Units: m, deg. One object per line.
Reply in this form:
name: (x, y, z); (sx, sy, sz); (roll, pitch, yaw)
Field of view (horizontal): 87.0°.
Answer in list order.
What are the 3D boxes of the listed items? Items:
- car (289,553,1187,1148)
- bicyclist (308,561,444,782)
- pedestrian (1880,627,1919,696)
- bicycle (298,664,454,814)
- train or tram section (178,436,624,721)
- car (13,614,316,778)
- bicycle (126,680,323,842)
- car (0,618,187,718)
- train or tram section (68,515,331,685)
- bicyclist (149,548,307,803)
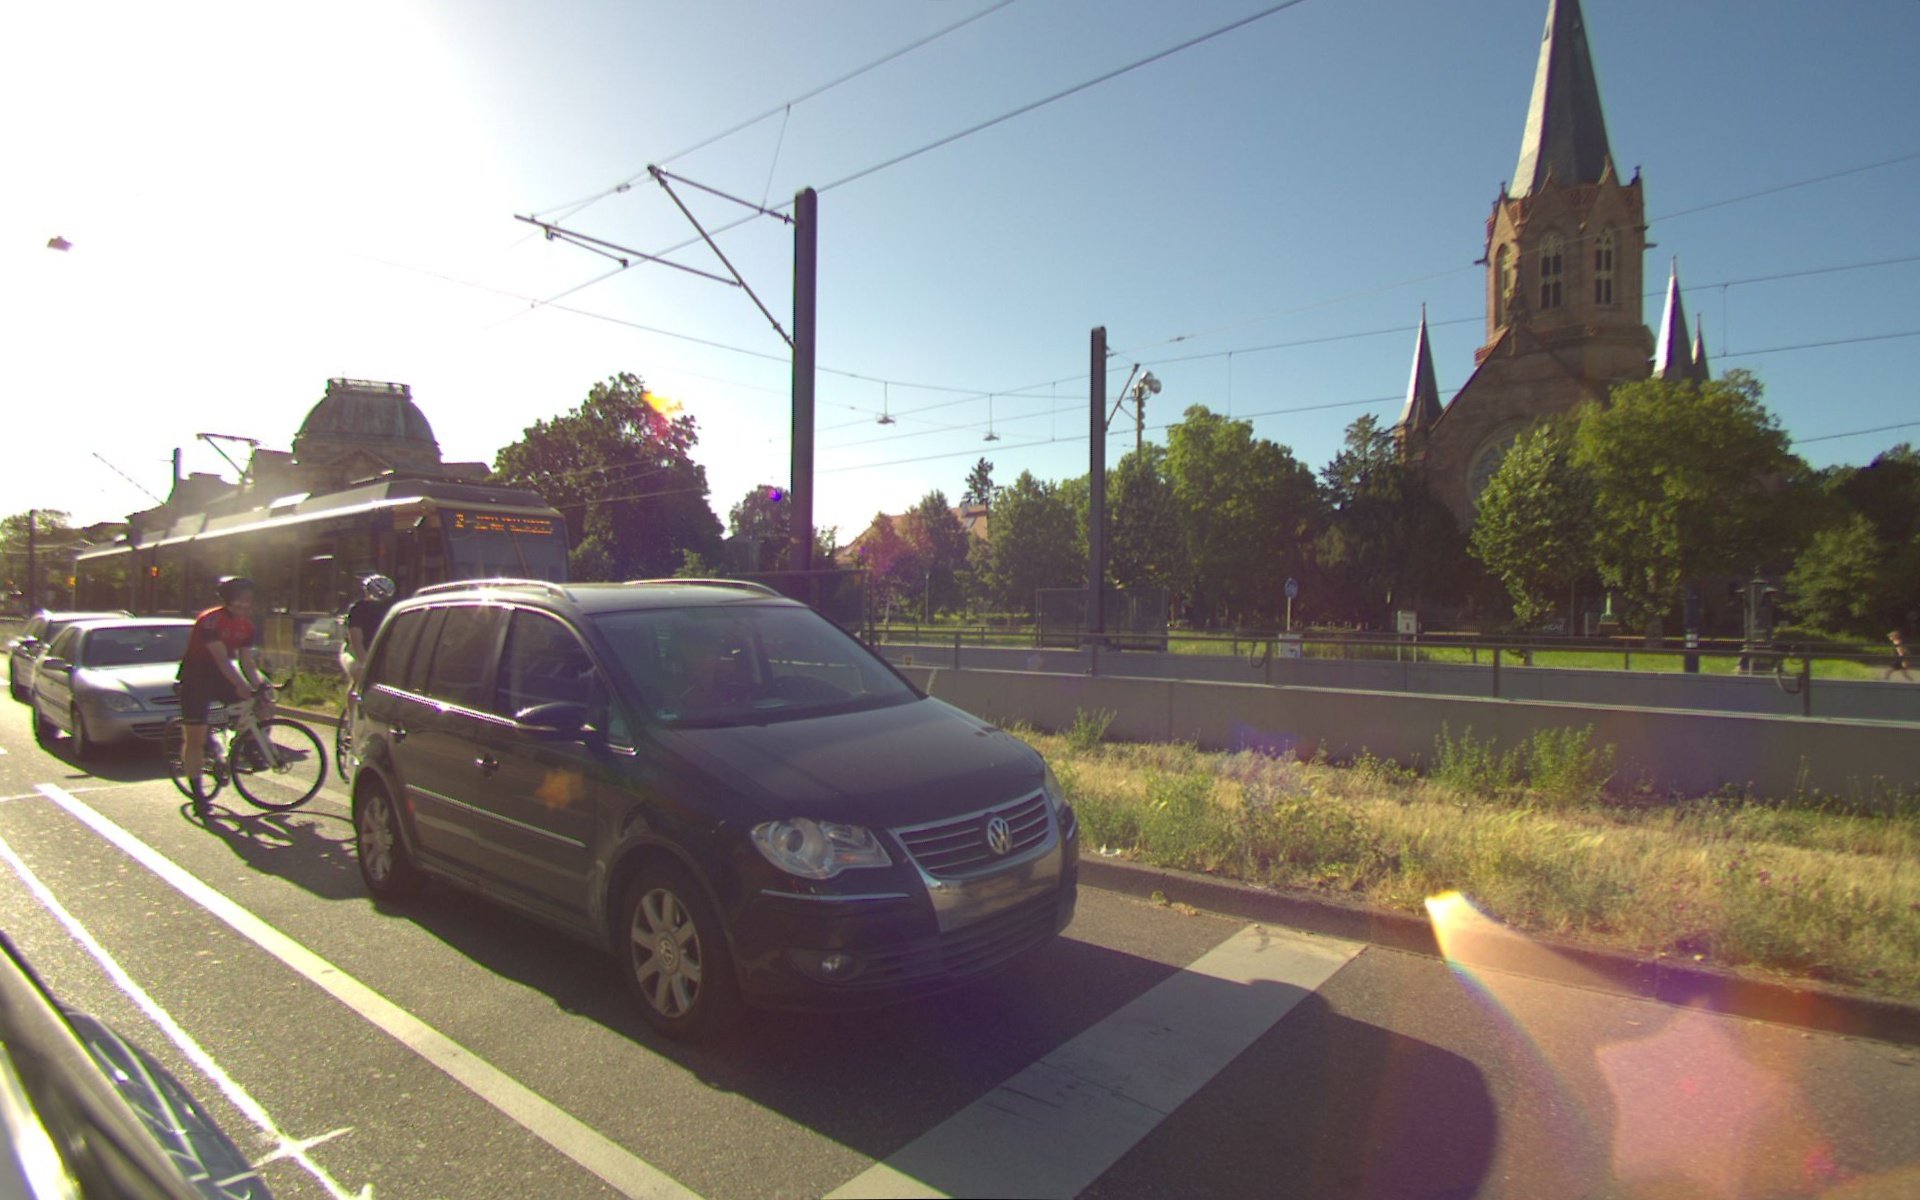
car: (-1.353, 0.641, 4.816); (4.354, 1.548, 1.973); (0, 1, 41)
bicyclist: (-4.746, 0.539, 8.217); (0.919, 1.672, 0.685); (0, 0, 41)
pedestrian: (26.323, 1.696, 28.091); (1.114, 1.860, 0.834); (0, 0, 39)
bicycle: (-4.793, 1.075, 8.255); (1.814, 1.005, 0.532); (0, 1, 41)
train or tram section: (-11.008, -0.168, 18.649); (13.177, 3.713, 2.918); (-1, -1, 41)
car: (-9.164, 0.926, 11.549); (4.130, 1.440, 1.973); (0, 1, 41)
bicycle: (-5.509, 1.135, 7.540); (1.902, 0.946, 0.623); (0, 0, 36)
car: (-14.827, 1.056, 17.207); (4.130, 1.440, 1.867); (-1, 0, 41)
train or tram section: (-20.889, 0.116, 27.216); (13.628, 3.640, 2.918); (-1, -1, 41)
bicyclist: (-5.377, 0.514, 7.439); (0.852, 1.743, 0.695); (0, 0, 36)
